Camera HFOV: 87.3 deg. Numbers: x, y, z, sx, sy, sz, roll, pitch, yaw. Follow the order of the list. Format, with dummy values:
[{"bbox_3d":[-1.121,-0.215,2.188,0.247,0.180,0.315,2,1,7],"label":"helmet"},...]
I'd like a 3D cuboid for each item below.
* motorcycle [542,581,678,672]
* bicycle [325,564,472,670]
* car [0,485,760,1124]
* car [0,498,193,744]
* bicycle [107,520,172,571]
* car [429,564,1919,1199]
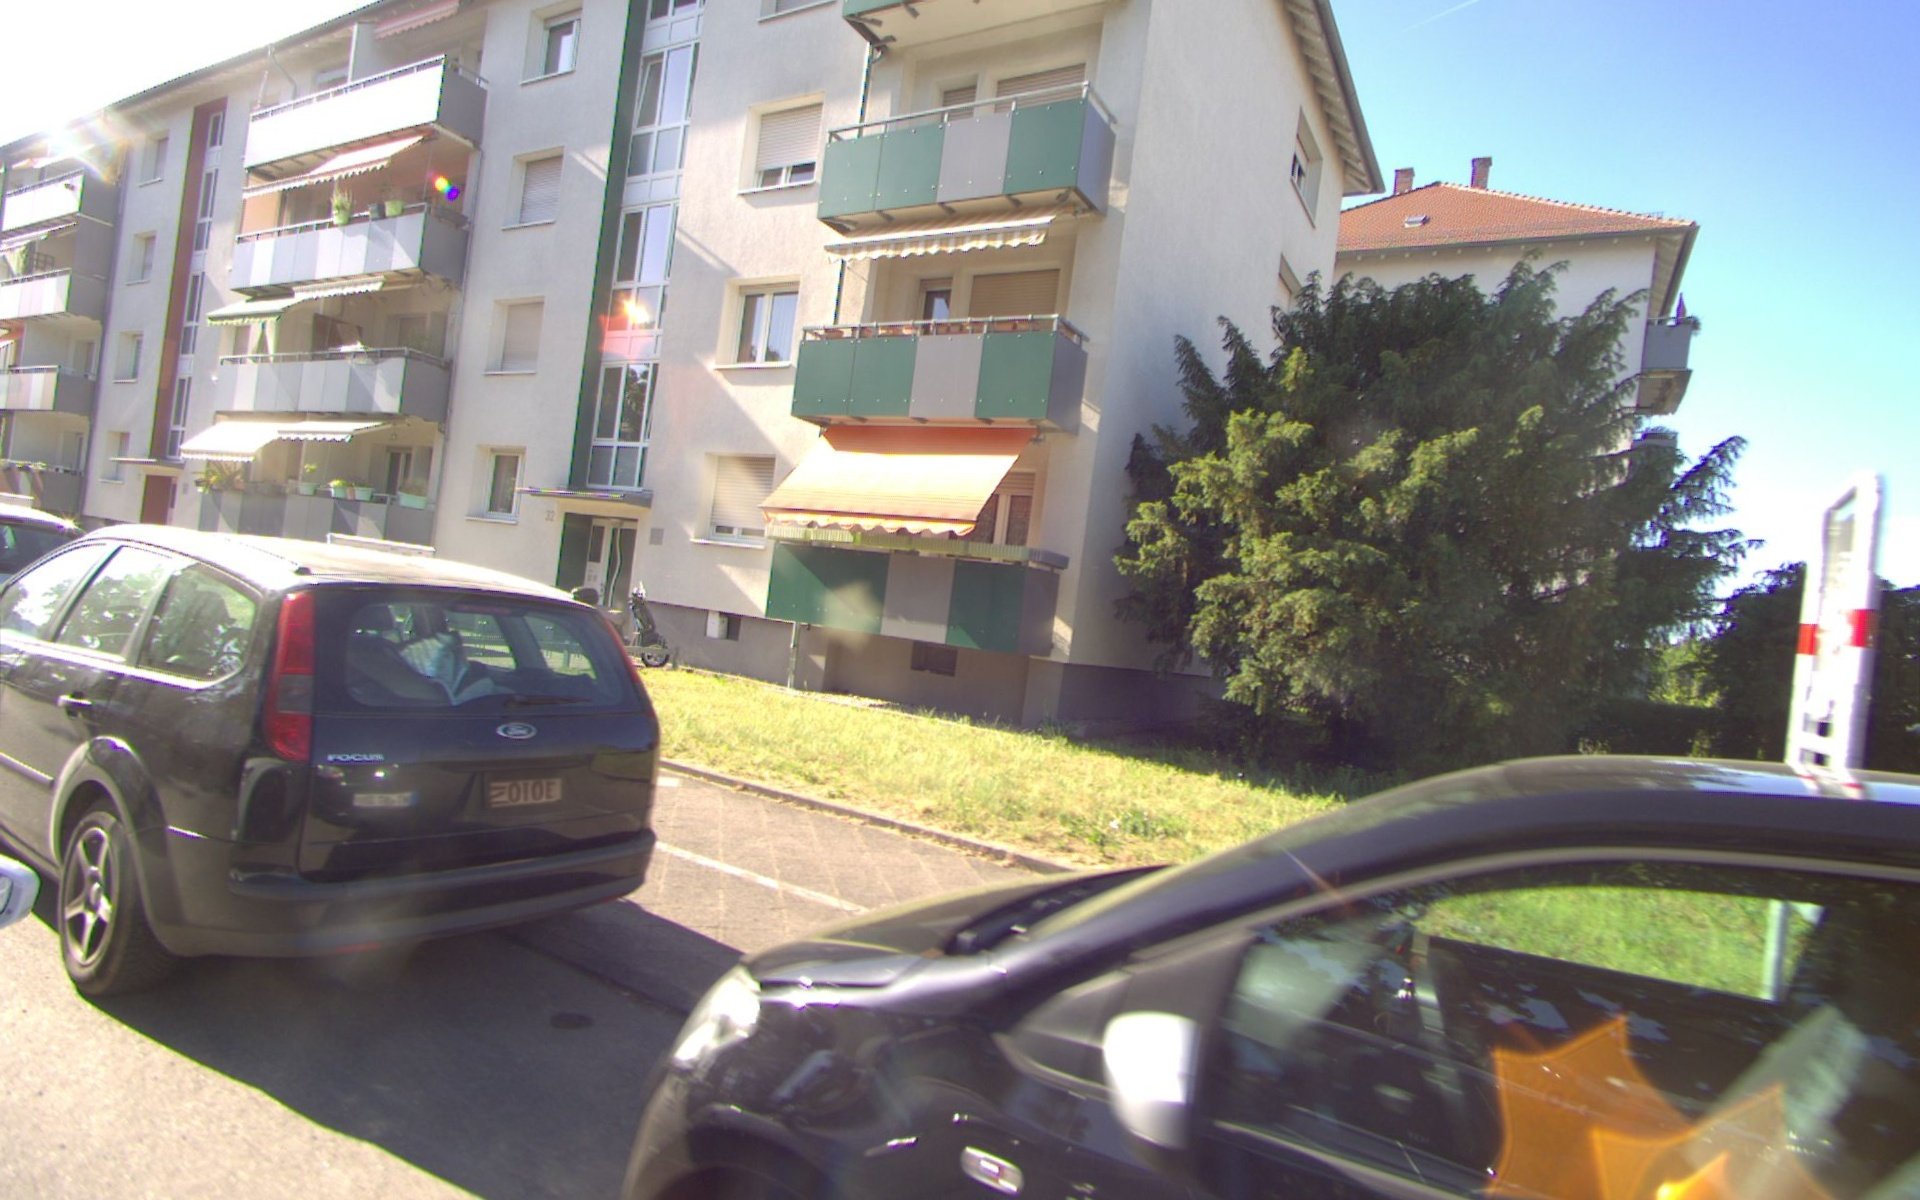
[{"bbox_3d":[-5.434,0.409,15.589,2.000,1.165,0.584,7,-1,22],"label":"motorcycle"},{"bbox_3d":[-7.047,0.202,12.604,1.865,1.090,0.721,7,-1,33],"label":"bicycle"},{"bbox_3d":[-3.234,0.418,4.497,4.483,1.547,1.772,7,-1,33],"label":"car"},{"bbox_3d":[-7.968,-0.085,7.425,4.415,1.552,1.878,7,-1,28],"label":"car"},{"bbox_3d":[-20.152,-1.342,24.691,1.976,1.085,0.524,7,2,30],"label":"bicycle"},{"bbox_3d":[1.100,0.952,1.547,3.729,1.490,1.662,7,-3,31],"label":"car"}]
